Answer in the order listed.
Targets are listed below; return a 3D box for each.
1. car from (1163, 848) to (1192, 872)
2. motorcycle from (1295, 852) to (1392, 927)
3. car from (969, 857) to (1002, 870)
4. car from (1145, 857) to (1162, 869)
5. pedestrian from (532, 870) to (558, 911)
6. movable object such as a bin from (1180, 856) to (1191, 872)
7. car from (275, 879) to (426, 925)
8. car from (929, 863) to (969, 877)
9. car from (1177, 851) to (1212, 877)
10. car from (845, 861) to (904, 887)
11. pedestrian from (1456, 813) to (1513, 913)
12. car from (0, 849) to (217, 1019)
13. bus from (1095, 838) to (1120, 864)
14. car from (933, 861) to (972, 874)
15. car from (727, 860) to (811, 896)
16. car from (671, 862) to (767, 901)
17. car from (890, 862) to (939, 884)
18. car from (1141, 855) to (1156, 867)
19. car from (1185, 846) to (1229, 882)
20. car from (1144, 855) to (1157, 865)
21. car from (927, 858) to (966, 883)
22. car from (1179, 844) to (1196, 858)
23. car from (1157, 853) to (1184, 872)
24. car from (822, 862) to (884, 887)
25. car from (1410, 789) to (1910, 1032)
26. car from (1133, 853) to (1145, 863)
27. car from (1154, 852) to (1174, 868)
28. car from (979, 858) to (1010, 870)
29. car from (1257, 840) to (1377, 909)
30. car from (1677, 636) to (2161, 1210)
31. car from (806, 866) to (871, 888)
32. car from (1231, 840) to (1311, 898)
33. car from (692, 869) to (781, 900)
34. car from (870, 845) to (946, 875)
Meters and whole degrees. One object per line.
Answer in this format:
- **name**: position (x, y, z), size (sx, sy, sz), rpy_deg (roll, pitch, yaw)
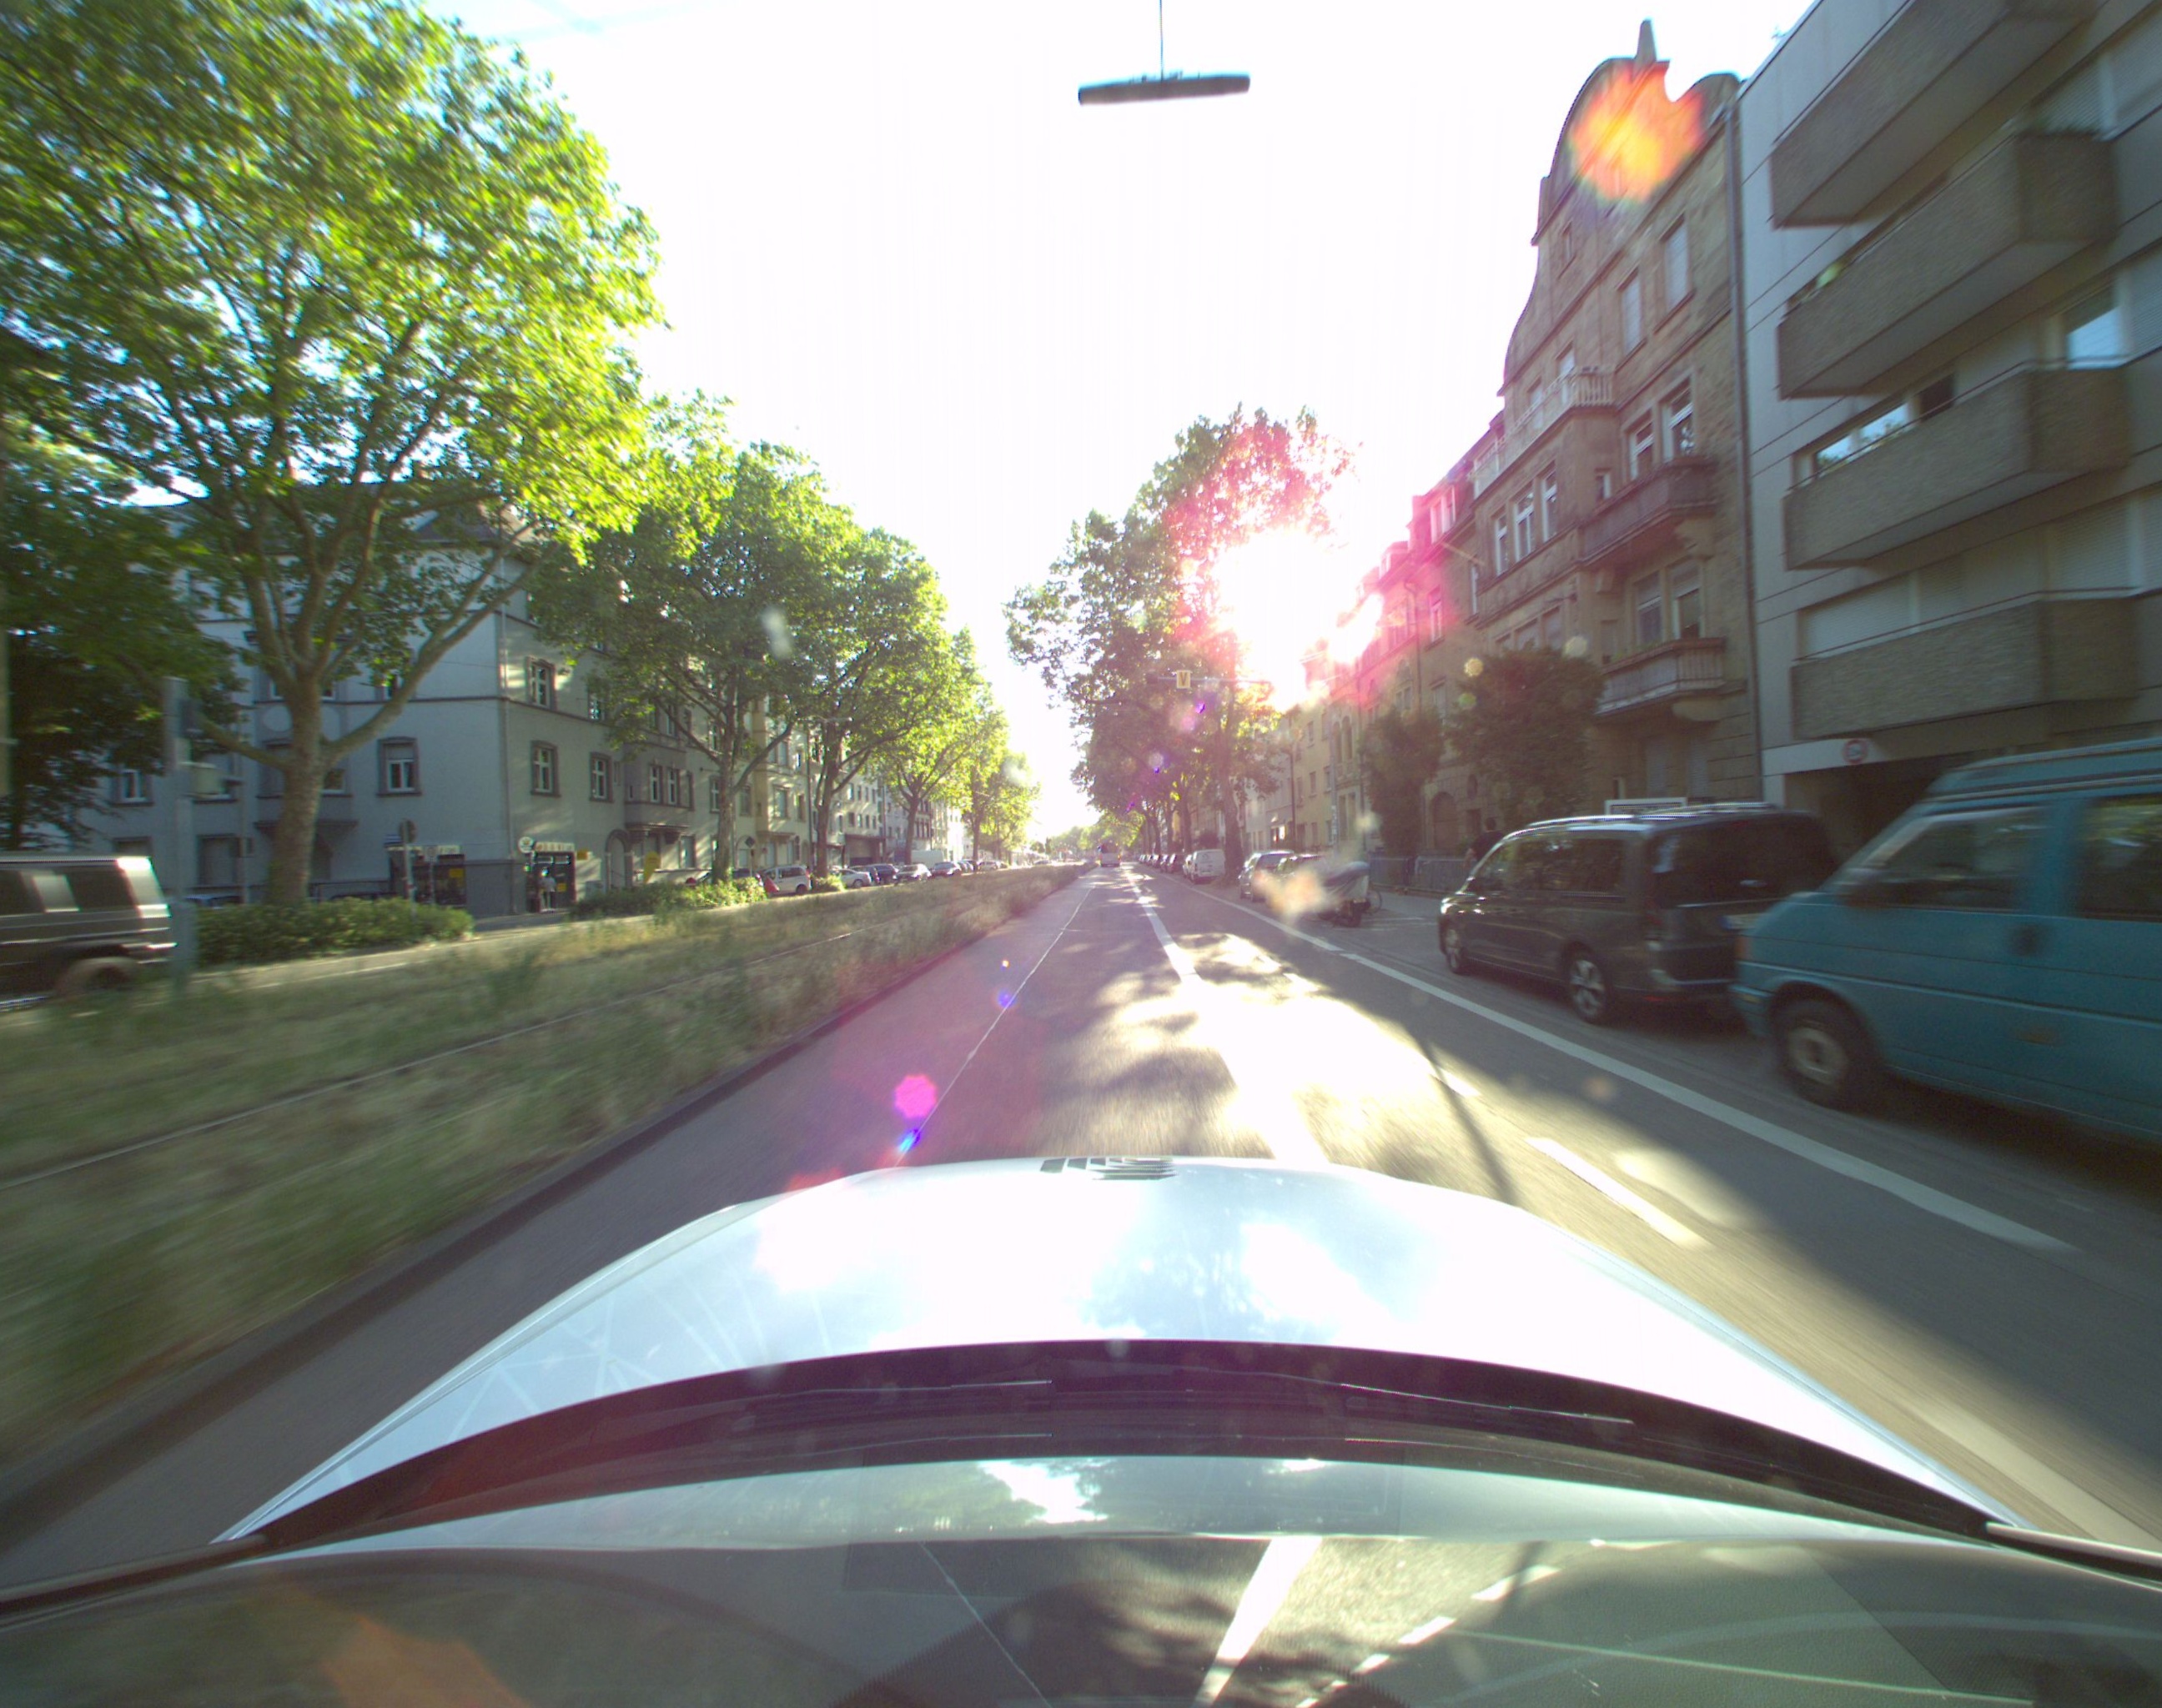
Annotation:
- **car**: position (7.415, 0.478, 62.947), size (1.738, 1.770, 4.989), rpy_deg (-2, -1, 1)
- **motorcycle**: position (5.410, 0.692, 17.005), size (0.824, 1.398, 2.371), rpy_deg (-4, 0, -10)
- **car**: position (-13.476, 1.350, 114.897), size (4.333, 1.738, 1.837), rpy_deg (-1, -1, -39)
- **car**: position (9.191, 1.116, 103.442), size (1.774, 1.516, 4.002), rpy_deg (-2, 0, 2)
- **pedestrian**: position (-23.544, 1.602, 35.792), size (0.624, 1.759, 0.674), rpy_deg (-2, 0, 7)
- **movable object such as a bin**: position (7.327, 0.692, 57.071), size (0.671, 1.045, 0.880), rpy_deg (-2, 1, 2)
- **car**: position (-27.416, 1.783, 30.655), size (3.975, 1.508, 1.814), rpy_deg (-2, 0, -1)
- **car**: position (-15.520, 1.859, 95.710), size (4.333, 1.458, 1.837), rpy_deg (-1, -1, -39)
- **car**: position (6.962, 0.611, 50.159), size (1.639, 1.486, 4.001), rpy_deg (-2, 0, 1)
- **car**: position (-16.150, 1.561, 63.742), size (4.012, 1.699, 1.838), rpy_deg (-4, 0, -30)
- **pedestrian**: position (8.129, 0.181, 16.423), size (0.708, 1.937, 0.815), rpy_deg (-2, 0, 2)
- **car**: position (-11.719, 0.821, 7.702), size (1.862, 1.694, 4.779), rpy_deg (-2, -1, 2)
- **bus**: position (3.416, -0.314, 106.930), size (2.825, 3.235, 8.179), rpy_deg (-2, -1, 0)
- **car**: position (-15.630, 1.599, 98.961), size (4.333, 1.458, 1.837), rpy_deg (-1, -1, -39)
- **car**: position (-17.673, 1.328, 46.150), size (4.018, 1.882, 1.977), rpy_deg (-1, -1, -37)
- **car**: position (-17.742, 1.342, 39.988), size (4.018, 1.723, 1.764), rpy_deg (-1, -1, -37)
- **car**: position (-12.157, 1.374, 59.729), size (1.735, 1.460, 4.939), rpy_deg (-2, -1, 10)
- **car**: position (9.225, 0.978, 111.746), size (1.774, 1.516, 4.002), rpy_deg (-2, 0, 2)
- **car**: position (6.705, 0.526, 43.789), size (1.738, 1.770, 4.394), rpy_deg (-2, -1, 1)
- **car**: position (10.822, 0.907, 126.472), size (1.774, 1.516, 4.002), rpy_deg (-2, 0, 2)
- **car**: position (-9.209, 1.107, 55.881), size (1.783, 1.574, 4.002), rpy_deg (-2, 0, 2)
- **car**: position (14.475, -0.380, 110.829), size (1.876, 1.860, 4.327), rpy_deg (-2, -1, 2)
- **car**: position (7.620, 0.746, 69.794), size (1.681, 1.486, 3.996), rpy_deg (-2, -1, -2)
- **car**: position (-16.914, 1.494, 60.383), size (4.013, 1.553, 1.838), rpy_deg (-5, 2, -30)
- **car**: position (5.481, 0.473, 8.742), size (1.987, 1.830, 4.757), rpy_deg (-2, -1, 1)
- **car**: position (9.385, 0.692, 132.602), size (1.774, 1.516, 4.002), rpy_deg (-2, 0, 2)
- **car**: position (8.721, 0.612, 85.785), size (1.774, 1.516, 4.002), rpy_deg (-2, 0, 2)
- **car**: position (-13.301, 1.479, 125.332), size (4.333, 1.738, 1.837), rpy_deg (-1, -1, -39)
- **car**: position (6.021, 0.513, 21.298), size (1.987, 1.560, 3.980), rpy_deg (-2, -1, 1)
- **car**: position (5.230, 0.249, 3.170), size (1.986, 2.257, 5.235), rpy_deg (-2, -1, 1)
- **car**: position (-16.482, 1.534, 55.433), size (4.012, 1.356, 1.570), rpy_deg (-1, -1, -30)
- **car**: position (6.101, 0.491, 26.574), size (1.738, 1.690, 3.852), rpy_deg (-2, -1, 1)
- **car**: position (-18.037, 1.578, 42.675), size (4.018, 1.448, 1.568), rpy_deg (-1, -1, -37)
- **car**: position (-16.877, 0.580, 79.519), size (6.959, 2.678, 2.171), rpy_deg (-2, -1, -19)
